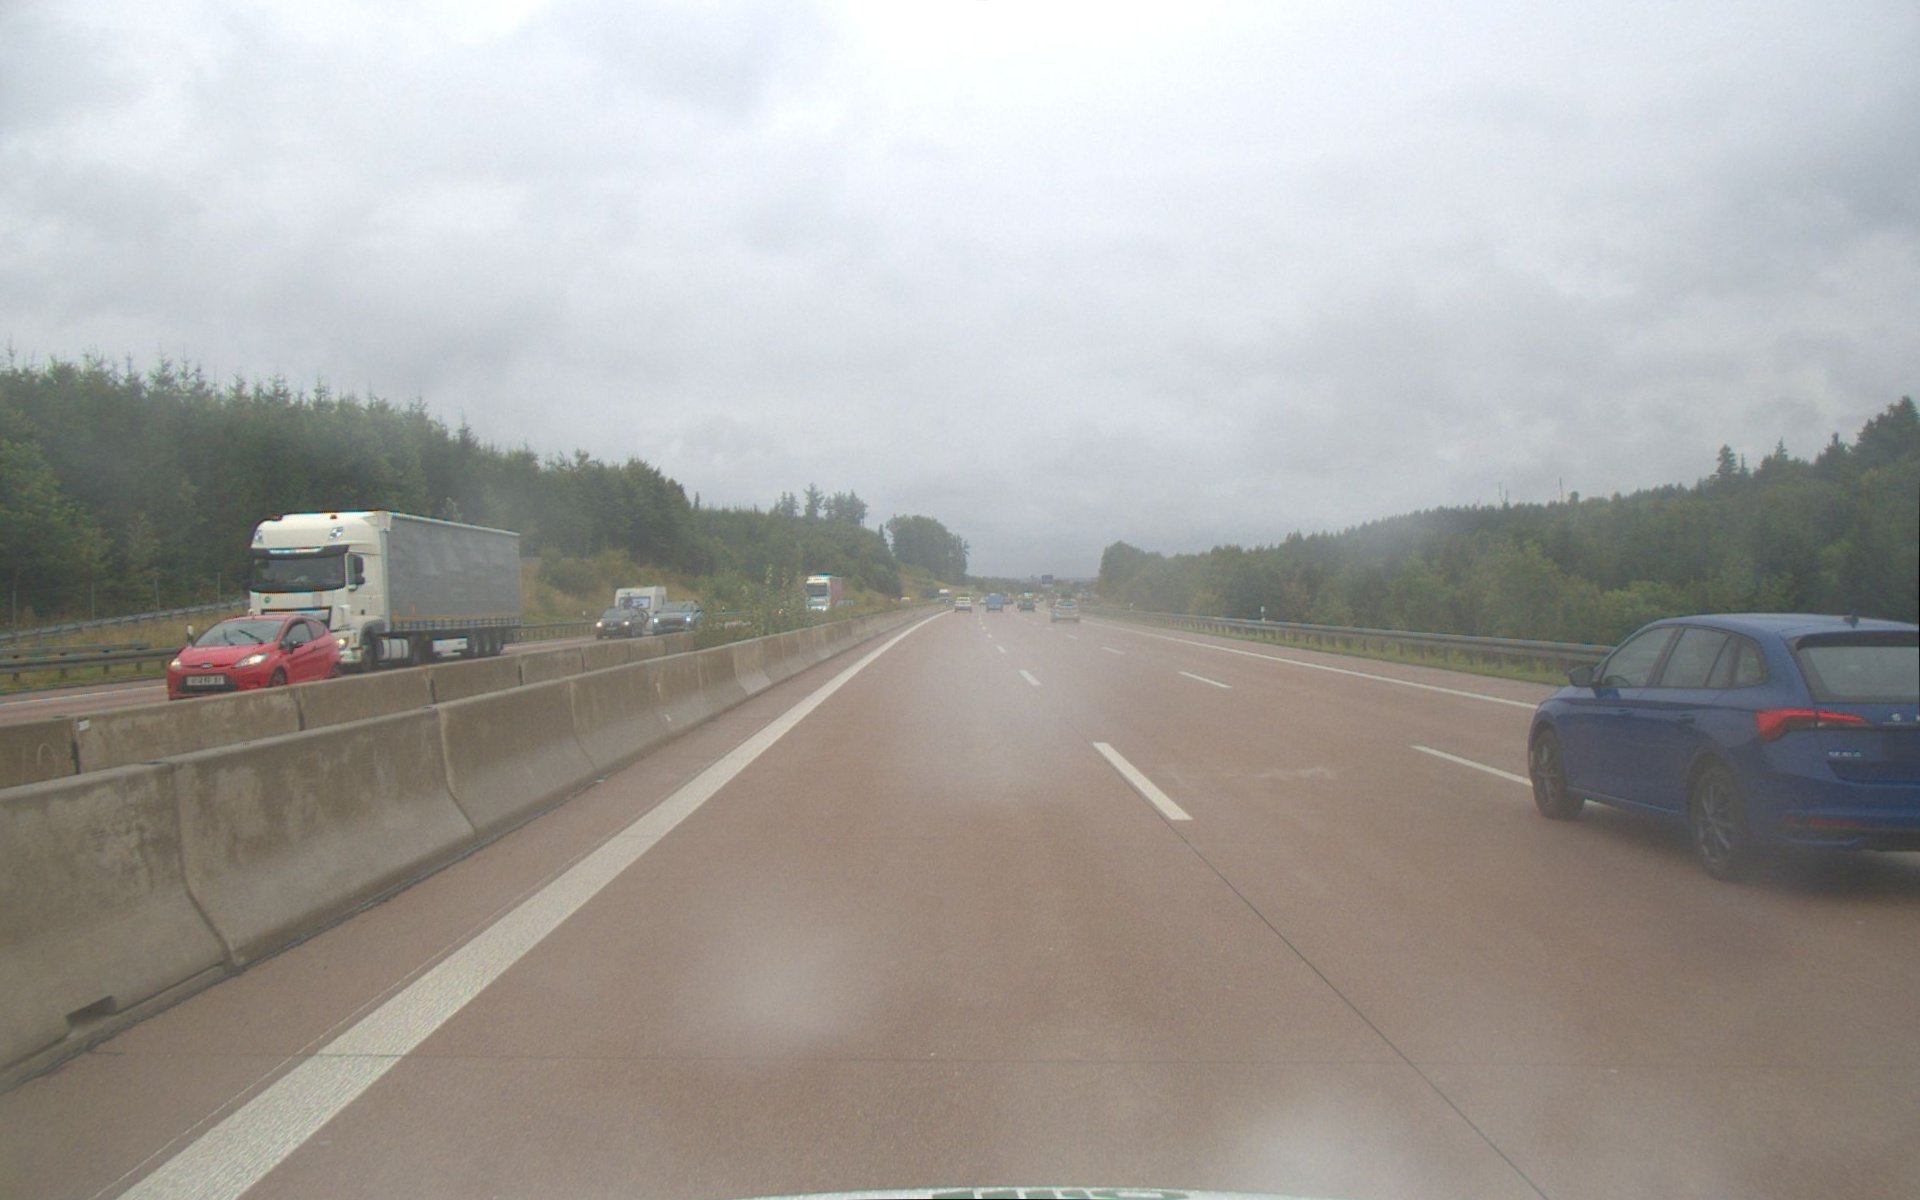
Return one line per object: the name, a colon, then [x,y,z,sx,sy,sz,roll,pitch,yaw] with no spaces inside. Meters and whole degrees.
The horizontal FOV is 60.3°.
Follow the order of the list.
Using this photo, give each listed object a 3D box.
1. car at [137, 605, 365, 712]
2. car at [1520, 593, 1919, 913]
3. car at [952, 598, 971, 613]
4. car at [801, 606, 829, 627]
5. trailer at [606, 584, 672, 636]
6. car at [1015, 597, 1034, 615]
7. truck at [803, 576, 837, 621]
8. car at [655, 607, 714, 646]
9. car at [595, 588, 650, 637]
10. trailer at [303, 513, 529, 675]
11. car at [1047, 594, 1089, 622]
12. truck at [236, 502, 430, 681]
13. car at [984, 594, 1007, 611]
car: [-11.643,0.930,27.494,1.953,1.572,4.279,-2,-1,-1]
car: [5.093,0.813,10.356,1.735,1.591,4.145,1,-1,0]
car: [0.101,0.618,174.456,1.836,1.470,4.875,1,-1,-2]
car: [-11.991,1.382,137.304,1.826,1.695,4.709,1,-1,1]
trailer: [-16.215,0.456,83.808,2.230,2.453,5.437,-3,0,-1]
car: [7.659,0.683,196.309,1.954,2.049,3.997,1,-1,-3]
truck: [-14.661,-0.143,173.965,2.890,4.556,6.791,1,-1,0]
car: [-12.197,1.141,73.426,1.657,1.584,5.676,-2,0,0]
car: [-16.050,0.588,78.880,1.722,2.190,4.427,-2,0,-2]
trailer: [-16.090,-0.038,50.248,2.683,4.212,12.752,-2,-1,-1]
car: [7.210,0.561,110.569,2.276,1.780,4.874,1,-1,-2]
truck: [-16.024,-0.159,42.751,2.712,4.249,6.000,-1,-1,-1]
car: [3.966,0.304,184.716,2.276,1.780,4.874,1,-1,-2]
